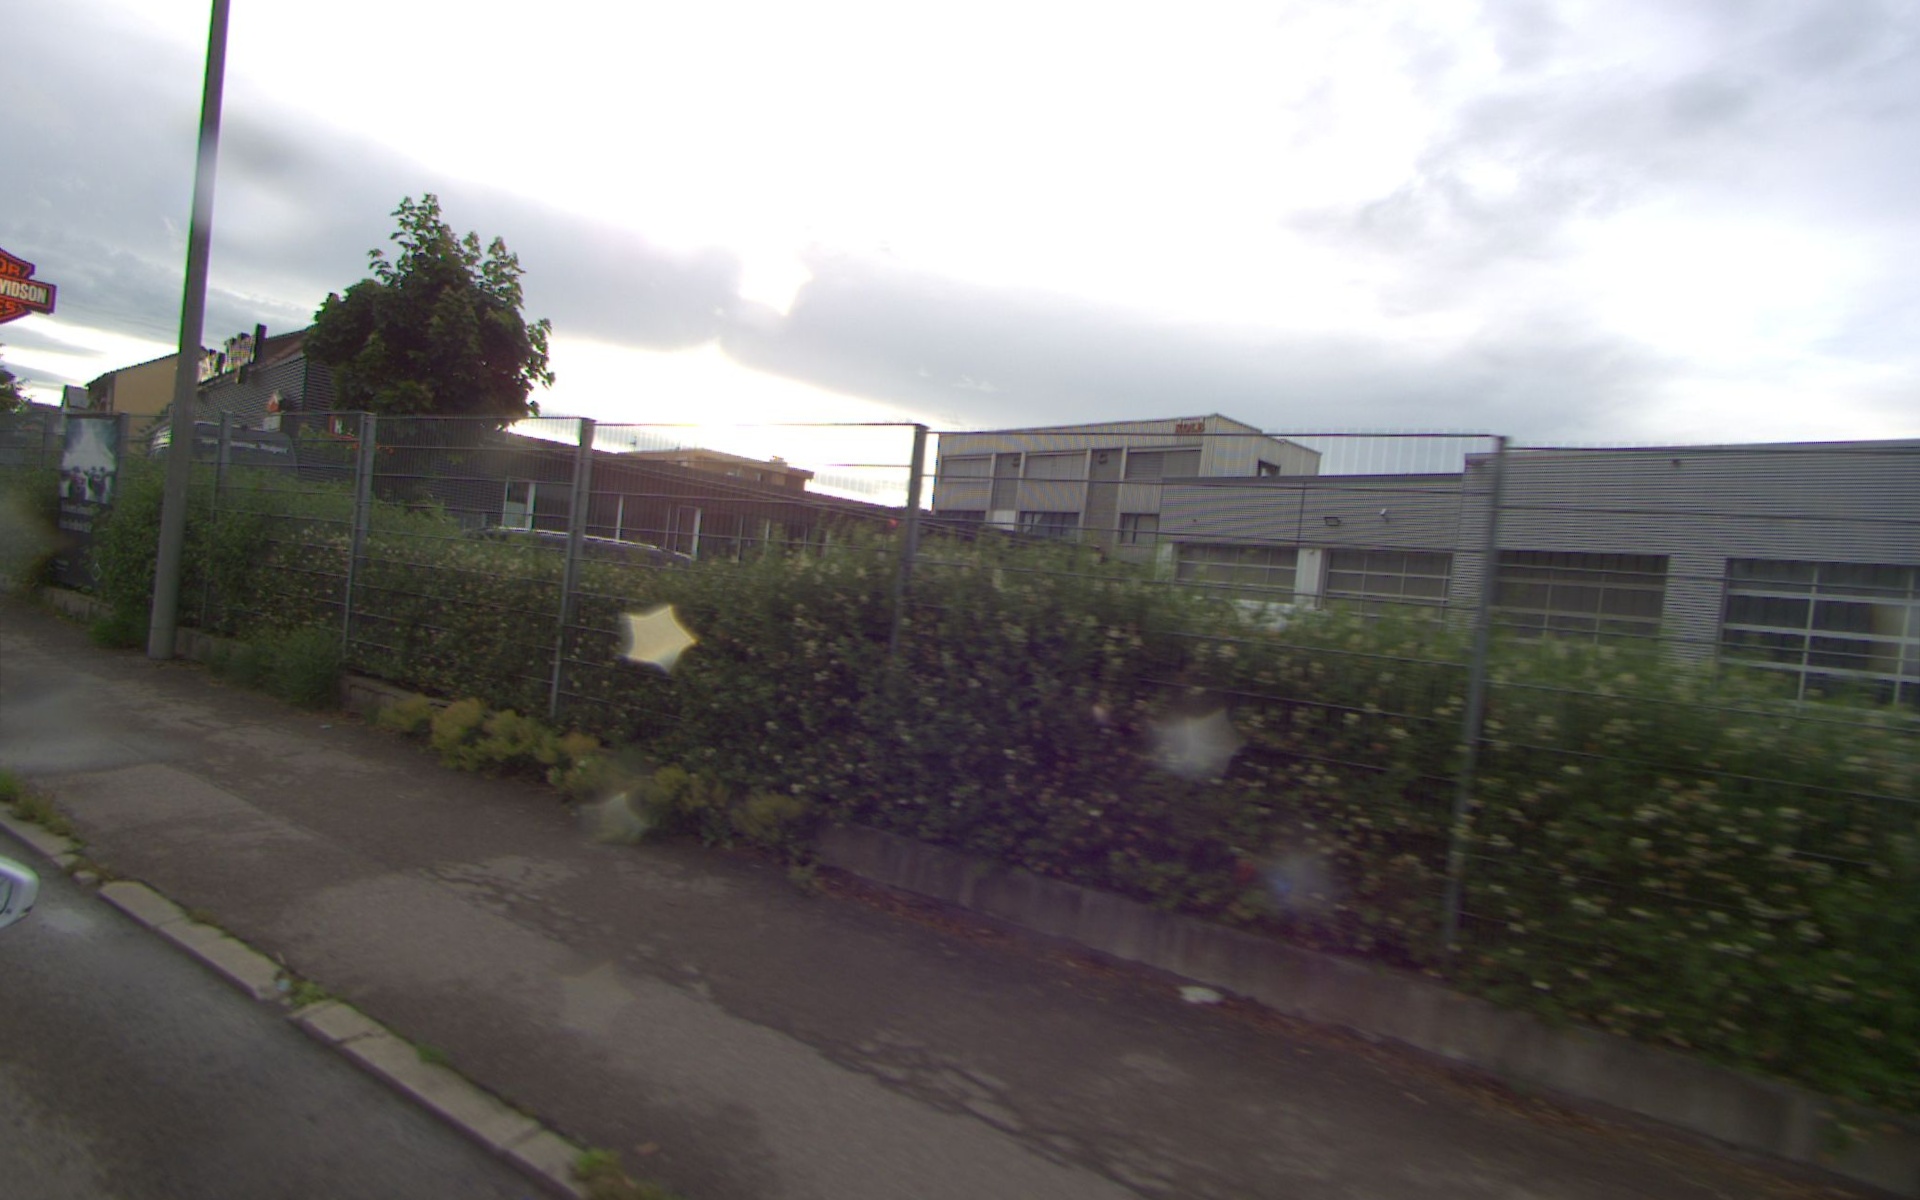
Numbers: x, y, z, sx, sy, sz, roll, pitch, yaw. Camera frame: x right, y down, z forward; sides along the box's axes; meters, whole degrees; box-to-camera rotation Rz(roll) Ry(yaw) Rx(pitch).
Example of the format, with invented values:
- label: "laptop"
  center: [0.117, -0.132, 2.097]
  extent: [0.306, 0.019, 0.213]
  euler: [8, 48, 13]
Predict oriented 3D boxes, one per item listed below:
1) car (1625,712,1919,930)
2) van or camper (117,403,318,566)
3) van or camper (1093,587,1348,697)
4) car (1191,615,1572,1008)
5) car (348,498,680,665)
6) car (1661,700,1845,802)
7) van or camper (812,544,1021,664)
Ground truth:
- label: "car"
  center: [8.519, 2.037, 8.814]
  extent: [4.225, 1.523, 1.789]
  euler: [6, -3, 29]
- label: "van or camper"
  center: [-15.294, -2.341, 20.515]
  extent: [6.500, 2.626, 2.037]
  euler: [7, 1, 43]
- label: "van or camper"
  center: [5.892, 0.892, 23.343]
  extent: [1.988, 1.960, 5.368]
  euler: [9, -3, -42]
- label: "car"
  center: [3.469, 1.358, 7.772]
  extent: [1.684, 2.038, 3.988]
  euler: [8, 0, 35]
- label: "car"
  center: [-6.433, -0.232, 14.759]
  extent: [4.068, 1.862, 1.761]
  euler: [7, 1, -28]
- label: "car"
  center: [14.241, 2.732, 17.955]
  extent: [4.621, 1.415, 1.701]
  euler: [10, -4, -41]
- label: "van or camper"
  center: [-1.329, 0.041, 27.586]
  extent: [2.326, 2.589, 5.667]
  euler: [6, 1, -44]
